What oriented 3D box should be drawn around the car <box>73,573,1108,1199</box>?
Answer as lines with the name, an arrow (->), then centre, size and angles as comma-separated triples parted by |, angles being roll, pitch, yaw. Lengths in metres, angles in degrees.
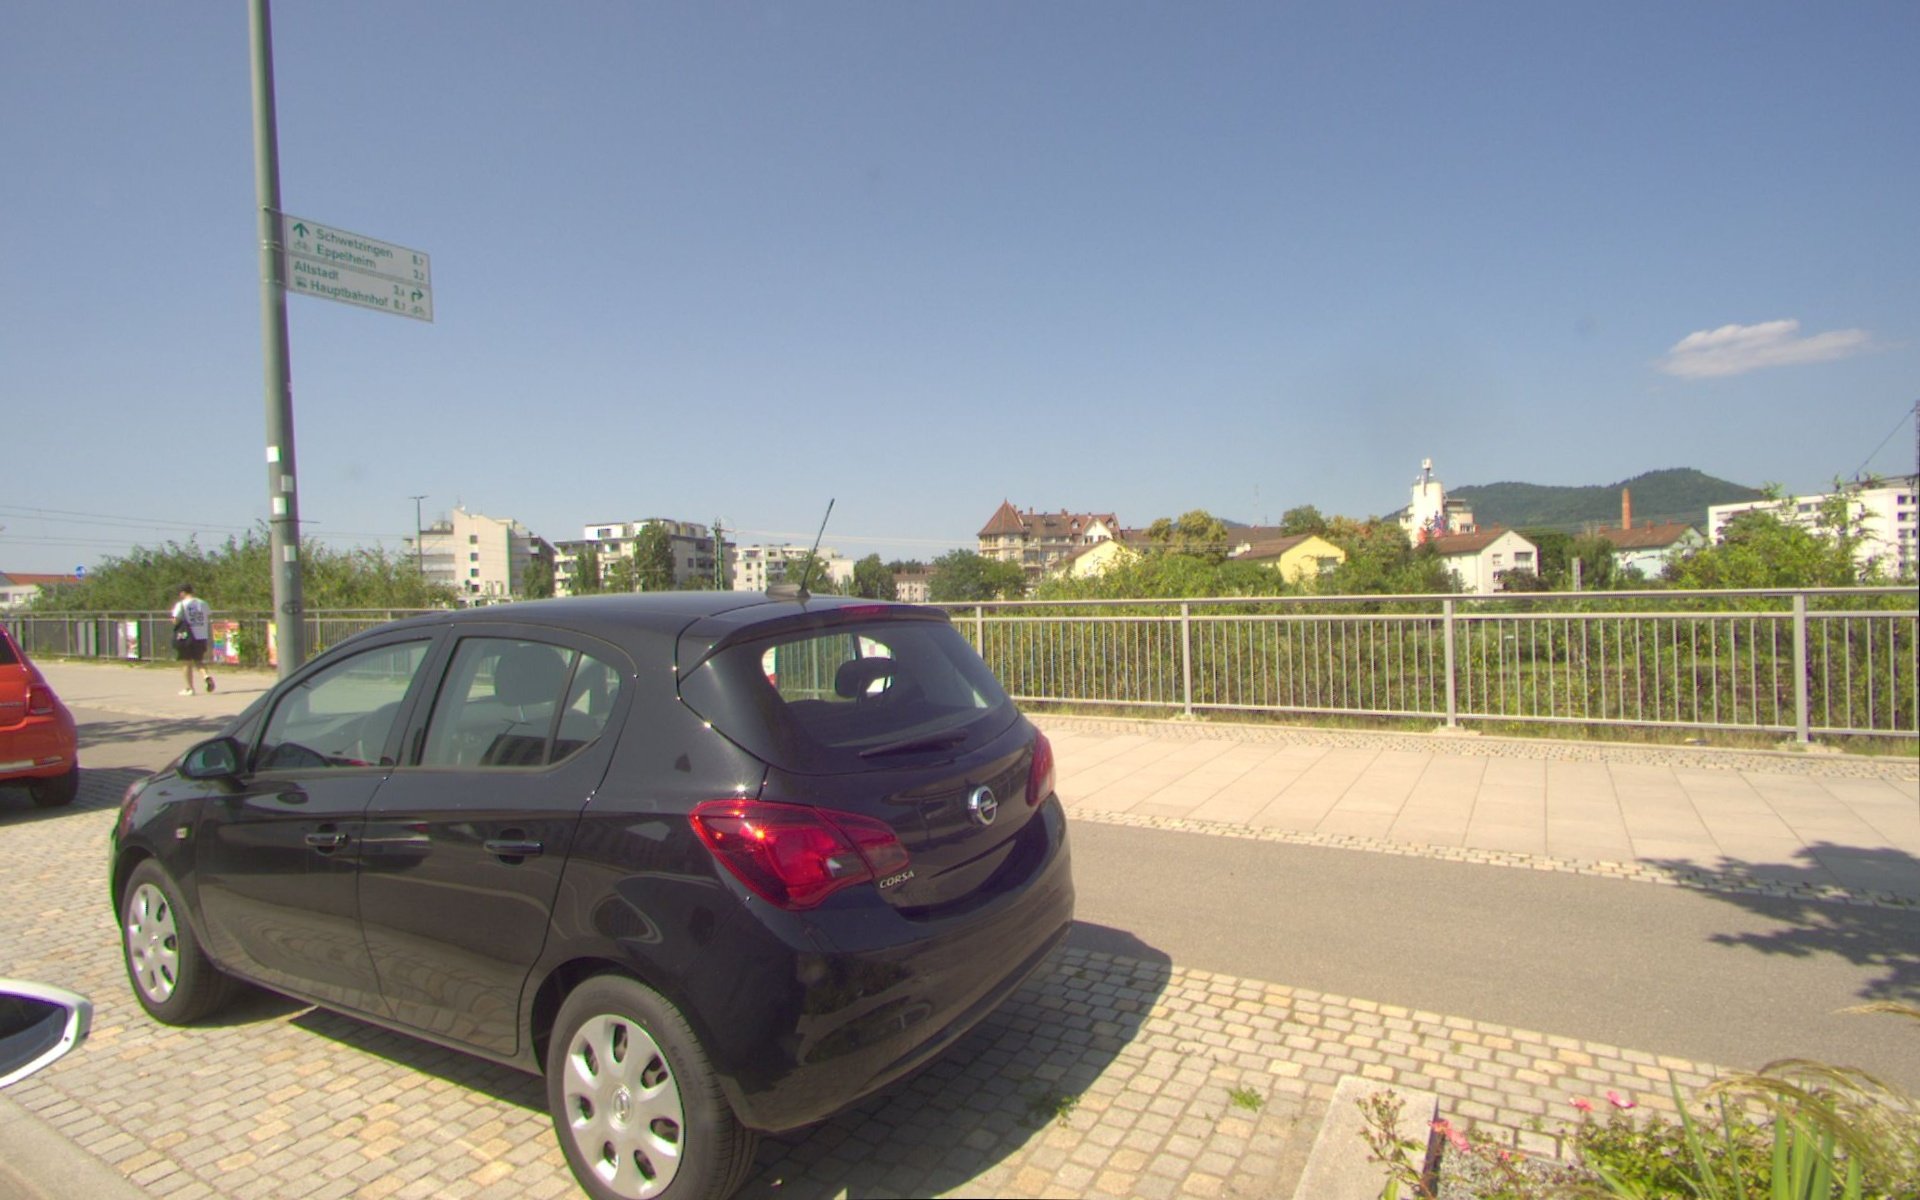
car -> -1.416, 0.745, 3.540 | 3.495, 1.577, 1.577 | 0, 2, 32

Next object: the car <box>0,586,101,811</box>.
car -> -8.456, 0.750, 7.822 | 3.864, 1.560, 1.664 | -2, 1, 34

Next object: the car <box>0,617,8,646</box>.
car -> -56.981, 1.777, 56.570 | 1.963, 1.695, 4.256 | -1, -2, 15

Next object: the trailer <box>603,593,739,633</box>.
trailer -> -26.792, 1.381, 94.627 | 3.674, 3.243, 17.243 | -1, -2, 17

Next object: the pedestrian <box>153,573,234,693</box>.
pedestrian -> -12.203, 0.530, 15.950 | 0.872, 1.853, 0.757 | -1, -2, 32

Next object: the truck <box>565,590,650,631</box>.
truck -> -29.816, 0.993, 84.954 | 3.672, 3.244, 6.485 | -1, -2, 17

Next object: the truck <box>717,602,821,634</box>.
truck -> -21.287, 2.163, 113.743 | 3.674, 3.243, 17.876 | -1, -2, 17
